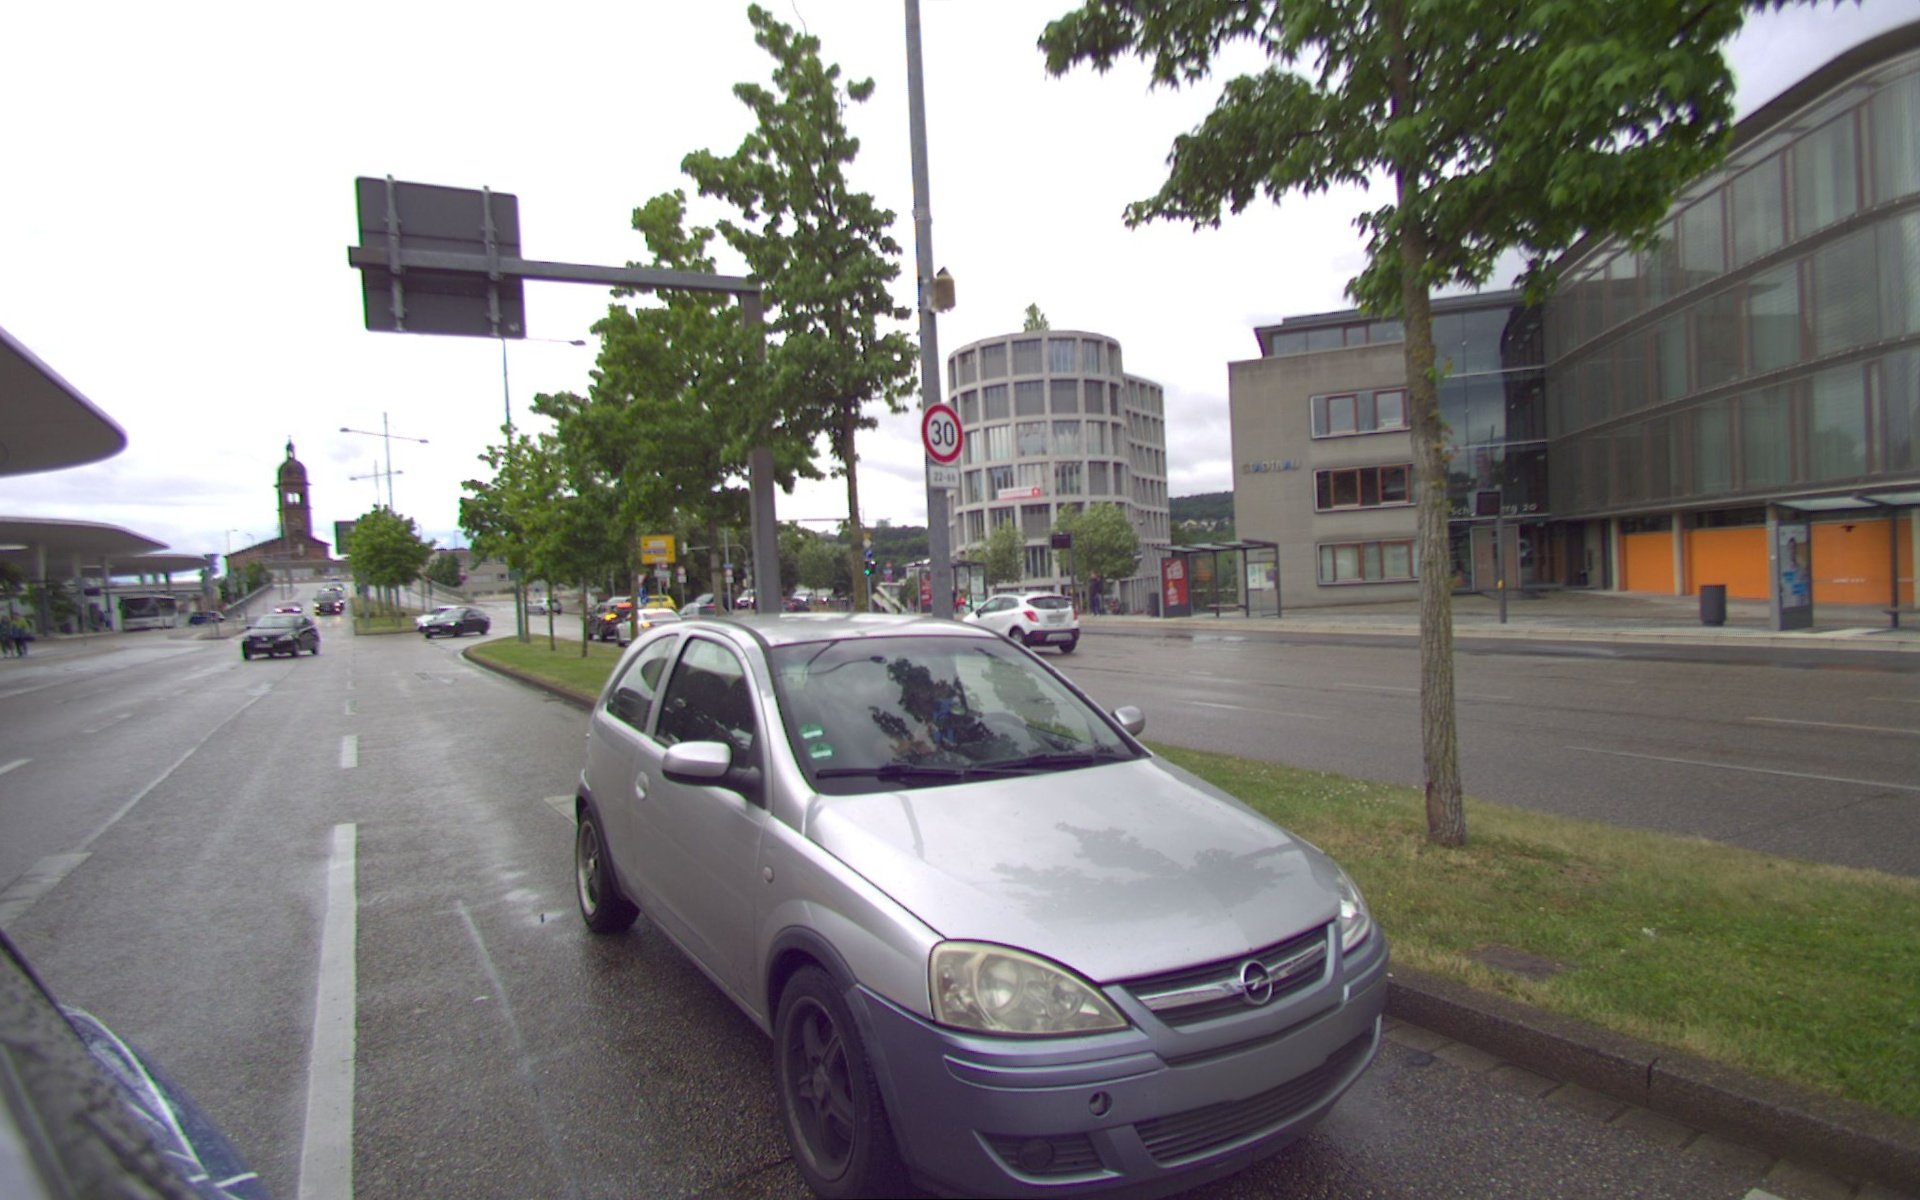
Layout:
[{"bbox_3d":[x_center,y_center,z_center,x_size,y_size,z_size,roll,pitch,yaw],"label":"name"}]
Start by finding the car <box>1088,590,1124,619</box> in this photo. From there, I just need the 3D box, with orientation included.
[{"bbox_3d":[9.306,0.266,64.404,1.859,1.715,4.138,-1,0,14],"label":"car"}]

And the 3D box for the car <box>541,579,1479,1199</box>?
[{"bbox_3d":[-0.341,0.709,3.797,1.671,1.477,3.731,-1,0,-32],"label":"car"}]

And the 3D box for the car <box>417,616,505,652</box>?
[{"bbox_3d":[-25.904,1.745,52.685,1.860,1.715,4.137,-1,0,15],"label":"car"}]

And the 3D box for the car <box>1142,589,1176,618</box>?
[{"bbox_3d":[12.467,0.218,63.236,1.859,1.715,4.138,-1,0,14],"label":"car"}]

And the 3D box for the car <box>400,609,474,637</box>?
[{"bbox_3d":[-31.321,1.370,60.730,1.794,1.571,4.032,-1,0,14],"label":"car"}]

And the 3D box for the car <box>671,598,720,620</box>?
[{"bbox_3d":[-20.386,0.687,78.162,1.860,1.646,4.137,-1,0,15],"label":"car"}]

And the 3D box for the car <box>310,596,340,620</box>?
[{"bbox_3d":[-56.224,0.714,89.552,1.967,2.029,4.009,-1,0,-36],"label":"car"}]

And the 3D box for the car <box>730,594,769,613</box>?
[{"bbox_3d":[-18.890,0.283,91.003,1.858,1.646,4.141,-1,0,12],"label":"car"}]

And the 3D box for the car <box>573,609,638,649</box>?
[{"bbox_3d":[-15.186,1.184,43.199,1.977,1.566,4.178,-1,0,-28],"label":"car"}]

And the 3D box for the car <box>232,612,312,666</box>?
[{"bbox_3d":[-24.264,1.323,35.830,1.844,1.715,4.171,-1,0,-27],"label":"car"}]

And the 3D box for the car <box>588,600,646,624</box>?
[{"bbox_3d":[-24.638,0.860,72.866,1.860,1.646,4.279,-1,0,16],"label":"car"}]

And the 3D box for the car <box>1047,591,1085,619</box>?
[{"bbox_3d":[6.802,0.291,64.745,1.859,1.714,4.138,-2,0,14],"label":"car"}]

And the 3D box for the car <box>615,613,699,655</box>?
[{"bbox_3d":[-11.108,1.192,36.911,1.977,1.363,4.177,-1,0,-31],"label":"car"}]

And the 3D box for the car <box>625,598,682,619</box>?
[{"bbox_3d":[-25.634,0.692,84.678,4.113,1.646,1.870,-2,0,11],"label":"car"}]

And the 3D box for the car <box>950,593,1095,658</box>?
[{"bbox_3d":[1.619,0.655,27.701,1.928,1.630,4.221,-1,0,-30],"label":"car"}]

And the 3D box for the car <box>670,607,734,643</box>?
[{"bbox_3d":[-11.437,1.055,44.679,1.671,1.477,4.466,-1,0,-28],"label":"car"}]

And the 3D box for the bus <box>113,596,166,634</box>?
[{"bbox_3d":[-75.269,1.396,92.829,3.528,3.121,10.773,-2,0,-39],"label":"bus"}]

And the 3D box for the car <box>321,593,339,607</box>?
[{"bbox_3d":[-76.760,0.020,123.285,1.525,1.572,3.659,-1,0,-36],"label":"car"}]

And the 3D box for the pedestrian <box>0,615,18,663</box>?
[{"bbox_3d":[-36.103,1.471,38.410,0.438,1.777,0.538,-2,0,-37],"label":"pedestrian"}]

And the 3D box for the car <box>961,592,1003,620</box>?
[{"bbox_3d":[1.481,0.387,66.221,1.859,1.715,4.138,-1,0,14],"label":"car"}]

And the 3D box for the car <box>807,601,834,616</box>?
[{"bbox_3d":[-15.837,0.950,115.007,1.856,1.646,4.146,-1,0,9],"label":"car"}]

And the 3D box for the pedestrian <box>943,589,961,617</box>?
[{"bbox_3d":[-0.454,0.173,54.153,0.721,1.501,0.737,-1,0,-23],"label":"pedestrian"}]

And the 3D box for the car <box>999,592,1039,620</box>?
[{"bbox_3d":[3.866,0.350,65.497,1.859,1.715,4.138,-1,0,14],"label":"car"}]

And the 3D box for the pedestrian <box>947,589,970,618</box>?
[{"bbox_3d":[-0.093,0.168,53.127,0.967,1.501,0.736,-1,0,-21],"label":"pedestrian"}]

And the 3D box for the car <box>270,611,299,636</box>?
[{"bbox_3d":[-57.122,1.970,85.637,1.966,2.029,4.011,-1,0,-33],"label":"car"}]

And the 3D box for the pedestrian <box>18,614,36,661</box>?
[{"bbox_3d":[-35.715,1.442,38.745,0.439,1.777,0.538,-2,0,-39],"label":"pedestrian"}]

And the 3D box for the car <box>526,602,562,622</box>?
[{"bbox_3d":[-36.443,1.094,88.648,1.846,1.646,4.166,-2,0,-37],"label":"car"}]
